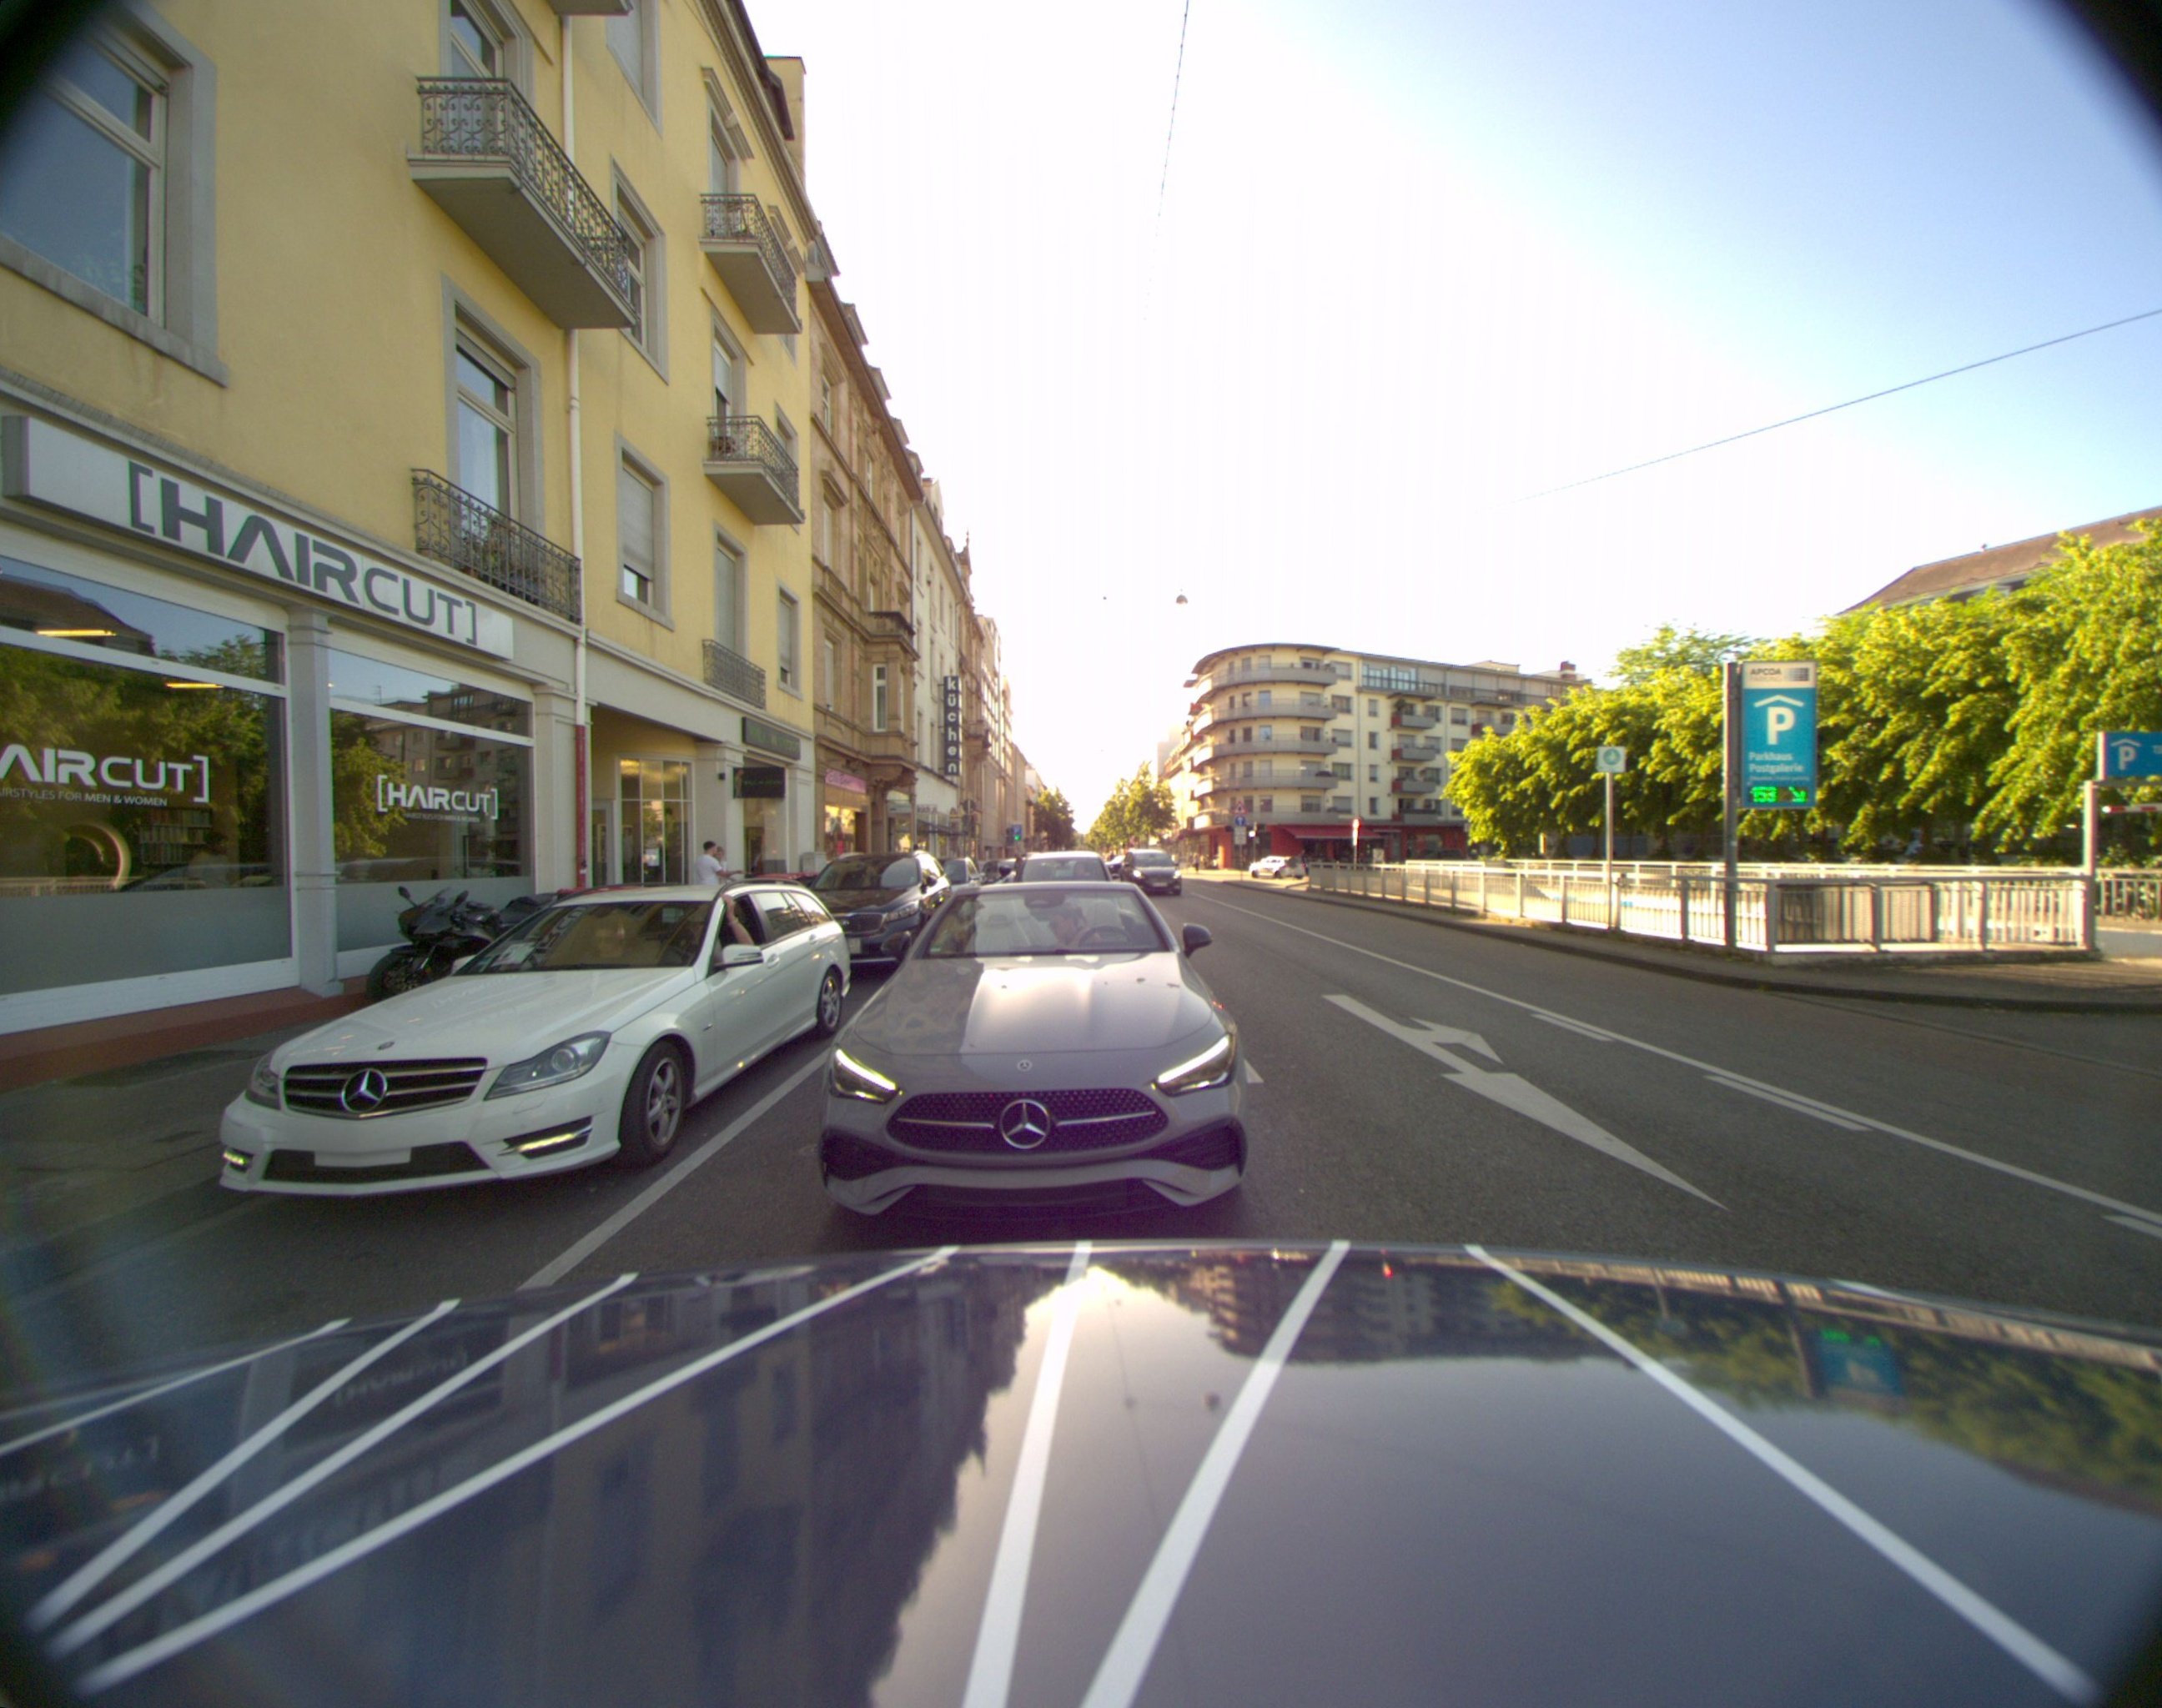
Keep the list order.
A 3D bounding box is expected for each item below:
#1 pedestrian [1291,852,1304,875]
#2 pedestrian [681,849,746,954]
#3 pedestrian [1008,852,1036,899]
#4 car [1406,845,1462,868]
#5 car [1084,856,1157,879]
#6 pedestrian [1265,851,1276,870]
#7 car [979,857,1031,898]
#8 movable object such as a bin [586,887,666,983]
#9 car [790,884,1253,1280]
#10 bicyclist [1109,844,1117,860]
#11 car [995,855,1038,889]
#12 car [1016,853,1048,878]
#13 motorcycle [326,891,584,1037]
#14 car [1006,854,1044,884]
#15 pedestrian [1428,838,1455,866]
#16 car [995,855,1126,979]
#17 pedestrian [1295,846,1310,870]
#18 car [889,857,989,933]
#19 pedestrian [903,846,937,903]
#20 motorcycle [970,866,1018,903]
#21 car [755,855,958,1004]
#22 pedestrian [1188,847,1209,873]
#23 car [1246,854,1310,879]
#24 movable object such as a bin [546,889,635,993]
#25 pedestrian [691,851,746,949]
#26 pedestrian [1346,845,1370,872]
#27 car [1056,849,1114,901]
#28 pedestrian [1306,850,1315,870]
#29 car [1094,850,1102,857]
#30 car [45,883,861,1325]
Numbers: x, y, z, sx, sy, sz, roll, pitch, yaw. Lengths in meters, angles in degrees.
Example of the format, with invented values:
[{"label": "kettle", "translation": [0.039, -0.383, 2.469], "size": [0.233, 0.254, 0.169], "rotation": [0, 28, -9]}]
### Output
[{"label": "pedestrian", "translation": [16.014, 0.716, 56.233], "size": [0.674, 1.696, 0.699], "rotation": [-2, 1, -7]}, {"label": "pedestrian", "translation": [-5.812, 0.728, 12.054], "size": [0.642, 1.607, 0.701], "rotation": [-1, 1, -1]}, {"label": "pedestrian", "translation": [-2.140, 0.767, 27.460], "size": [0.694, 1.657, 0.833], "rotation": [-2, 1, -25]}, {"label": "car", "translation": [29.034, 0.183, 62.456], "size": [4.004, 1.740, 1.996], "rotation": [-2, 1, -23]}, {"label": "car", "translation": [2.591, 0.861, 49.643], "size": [4.296, 1.375, 1.995], "rotation": [-2, 0, -30]}, {"label": "pedestrian", "translation": [15.053, 0.508, 60.276], "size": [0.791, 1.452, 0.583], "rotation": [-1, 1, 10]}, {"label": "car", "translation": [-2.998, 0.904, 30.733], "size": [1.715, 1.477, 3.999], "rotation": [-1, 0, 0]}, {"label": "movable object such as a bin", "translation": [-6.059, 1.057, 10.144], "size": [0.647, 1.200, 0.644], "rotation": [-1, 1, 1]}, {"label": "car", "translation": [-0.259, 1.016, 5.236], "size": [1.849, 1.371, 4.255], "rotation": [-2, 0, -1]}, {"label": "bicyclist", "translation": [3.404, -0.173, 80.837], "size": [0.758, 1.651, 1.143], "rotation": [-2, 1, 0]}, {"label": "car", "translation": [-3.050, 0.818, 36.485], "size": [1.715, 1.477, 3.999], "rotation": [-1, 0, 0]}, {"label": "car", "translation": [-3.024, 0.697, 47.598], "size": [1.715, 1.477, 4.062], "rotation": [-1, 0, 0]}, {"label": "motorcycle", "translation": [-6.262, 1.026, 7.830], "size": [0.773, 1.158, 2.247], "rotation": [1, 0, 1]}, {"label": "car", "translation": [-2.982, 0.769, 41.003], "size": [1.715, 1.477, 3.999], "rotation": [-1, 0, 0]}, {"label": "pedestrian", "translation": [25.898, -0.136, 54.579], "size": [1.318, 2.002, 1.295], "rotation": [-1, 1, -2]}, {"label": "car", "translation": [-0.251, 0.854, 12.182], "size": [1.716, 1.599, 4.000], "rotation": [-1, 0, 1]}, {"label": "pedestrian", "translation": [16.583, 0.291, 56.787], "size": [0.756, 1.795, 0.755], "rotation": [-2, 1, -41]}, {"label": "car", "translation": [-3.255, 0.895, 17.927], "size": [1.696, 1.559, 3.018], "rotation": [-1, 0, 1]}, {"label": "pedestrian", "translation": [-4.663, 0.589, 22.063], "size": [0.795, 1.607, 0.763], "rotation": [-1, 1, -1]}, {"label": "motorcycle", "translation": [-3.057, 1.052, 26.792], "size": [0.769, 1.225, 1.546], "rotation": [-1, 1, 42]}, {"label": "car", "translation": [-3.033, 0.897, 11.365], "size": [1.858, 1.688, 4.697], "rotation": [-1, 0, -4]}, {"label": "pedestrian", "translation": [9.209, 0.476, 59.367], "size": [1.202, 2.002, 1.018], "rotation": [-3, 1, -37]}, {"label": "car", "translation": [12.298, 0.768, 47.723], "size": [1.805, 1.426, 4.244], "rotation": [-2, 0, -19]}, {"label": "movable object such as a bin", "translation": [-6.108, 1.066, 9.493], "size": [0.647, 1.200, 0.644], "rotation": [-1, 1, 1]}, {"label": "pedestrian", "translation": [-6.170, 0.767, 12.946], "size": [0.572, 1.607, 0.643], "rotation": [-1, 1, 2]}, {"label": "pedestrian", "translation": [21.582, 0.351, 59.240], "size": [1.234, 2.002, 1.259], "rotation": [-2, 1, -21]}, {"label": "car", "translation": [0.177, 0.721, 28.029], "size": [1.952, 1.742, 4.000], "rotation": [-1, 0, 1]}, {"label": "pedestrian", "translation": [17.950, 0.470, 59.504], "size": [0.581, 1.481, 0.793], "rotation": [-1, 1, 13]}, {"label": "car", "translation": [4.732, -0.207, 211.648], "size": [1.998, 1.805, 4.000], "rotation": [-1, 0, 1]}, {"label": "car", "translation": [-3.061, 1.048, 5.210], "size": [1.759, 1.453, 4.597], "rotation": [-1, 0, 0]}]
